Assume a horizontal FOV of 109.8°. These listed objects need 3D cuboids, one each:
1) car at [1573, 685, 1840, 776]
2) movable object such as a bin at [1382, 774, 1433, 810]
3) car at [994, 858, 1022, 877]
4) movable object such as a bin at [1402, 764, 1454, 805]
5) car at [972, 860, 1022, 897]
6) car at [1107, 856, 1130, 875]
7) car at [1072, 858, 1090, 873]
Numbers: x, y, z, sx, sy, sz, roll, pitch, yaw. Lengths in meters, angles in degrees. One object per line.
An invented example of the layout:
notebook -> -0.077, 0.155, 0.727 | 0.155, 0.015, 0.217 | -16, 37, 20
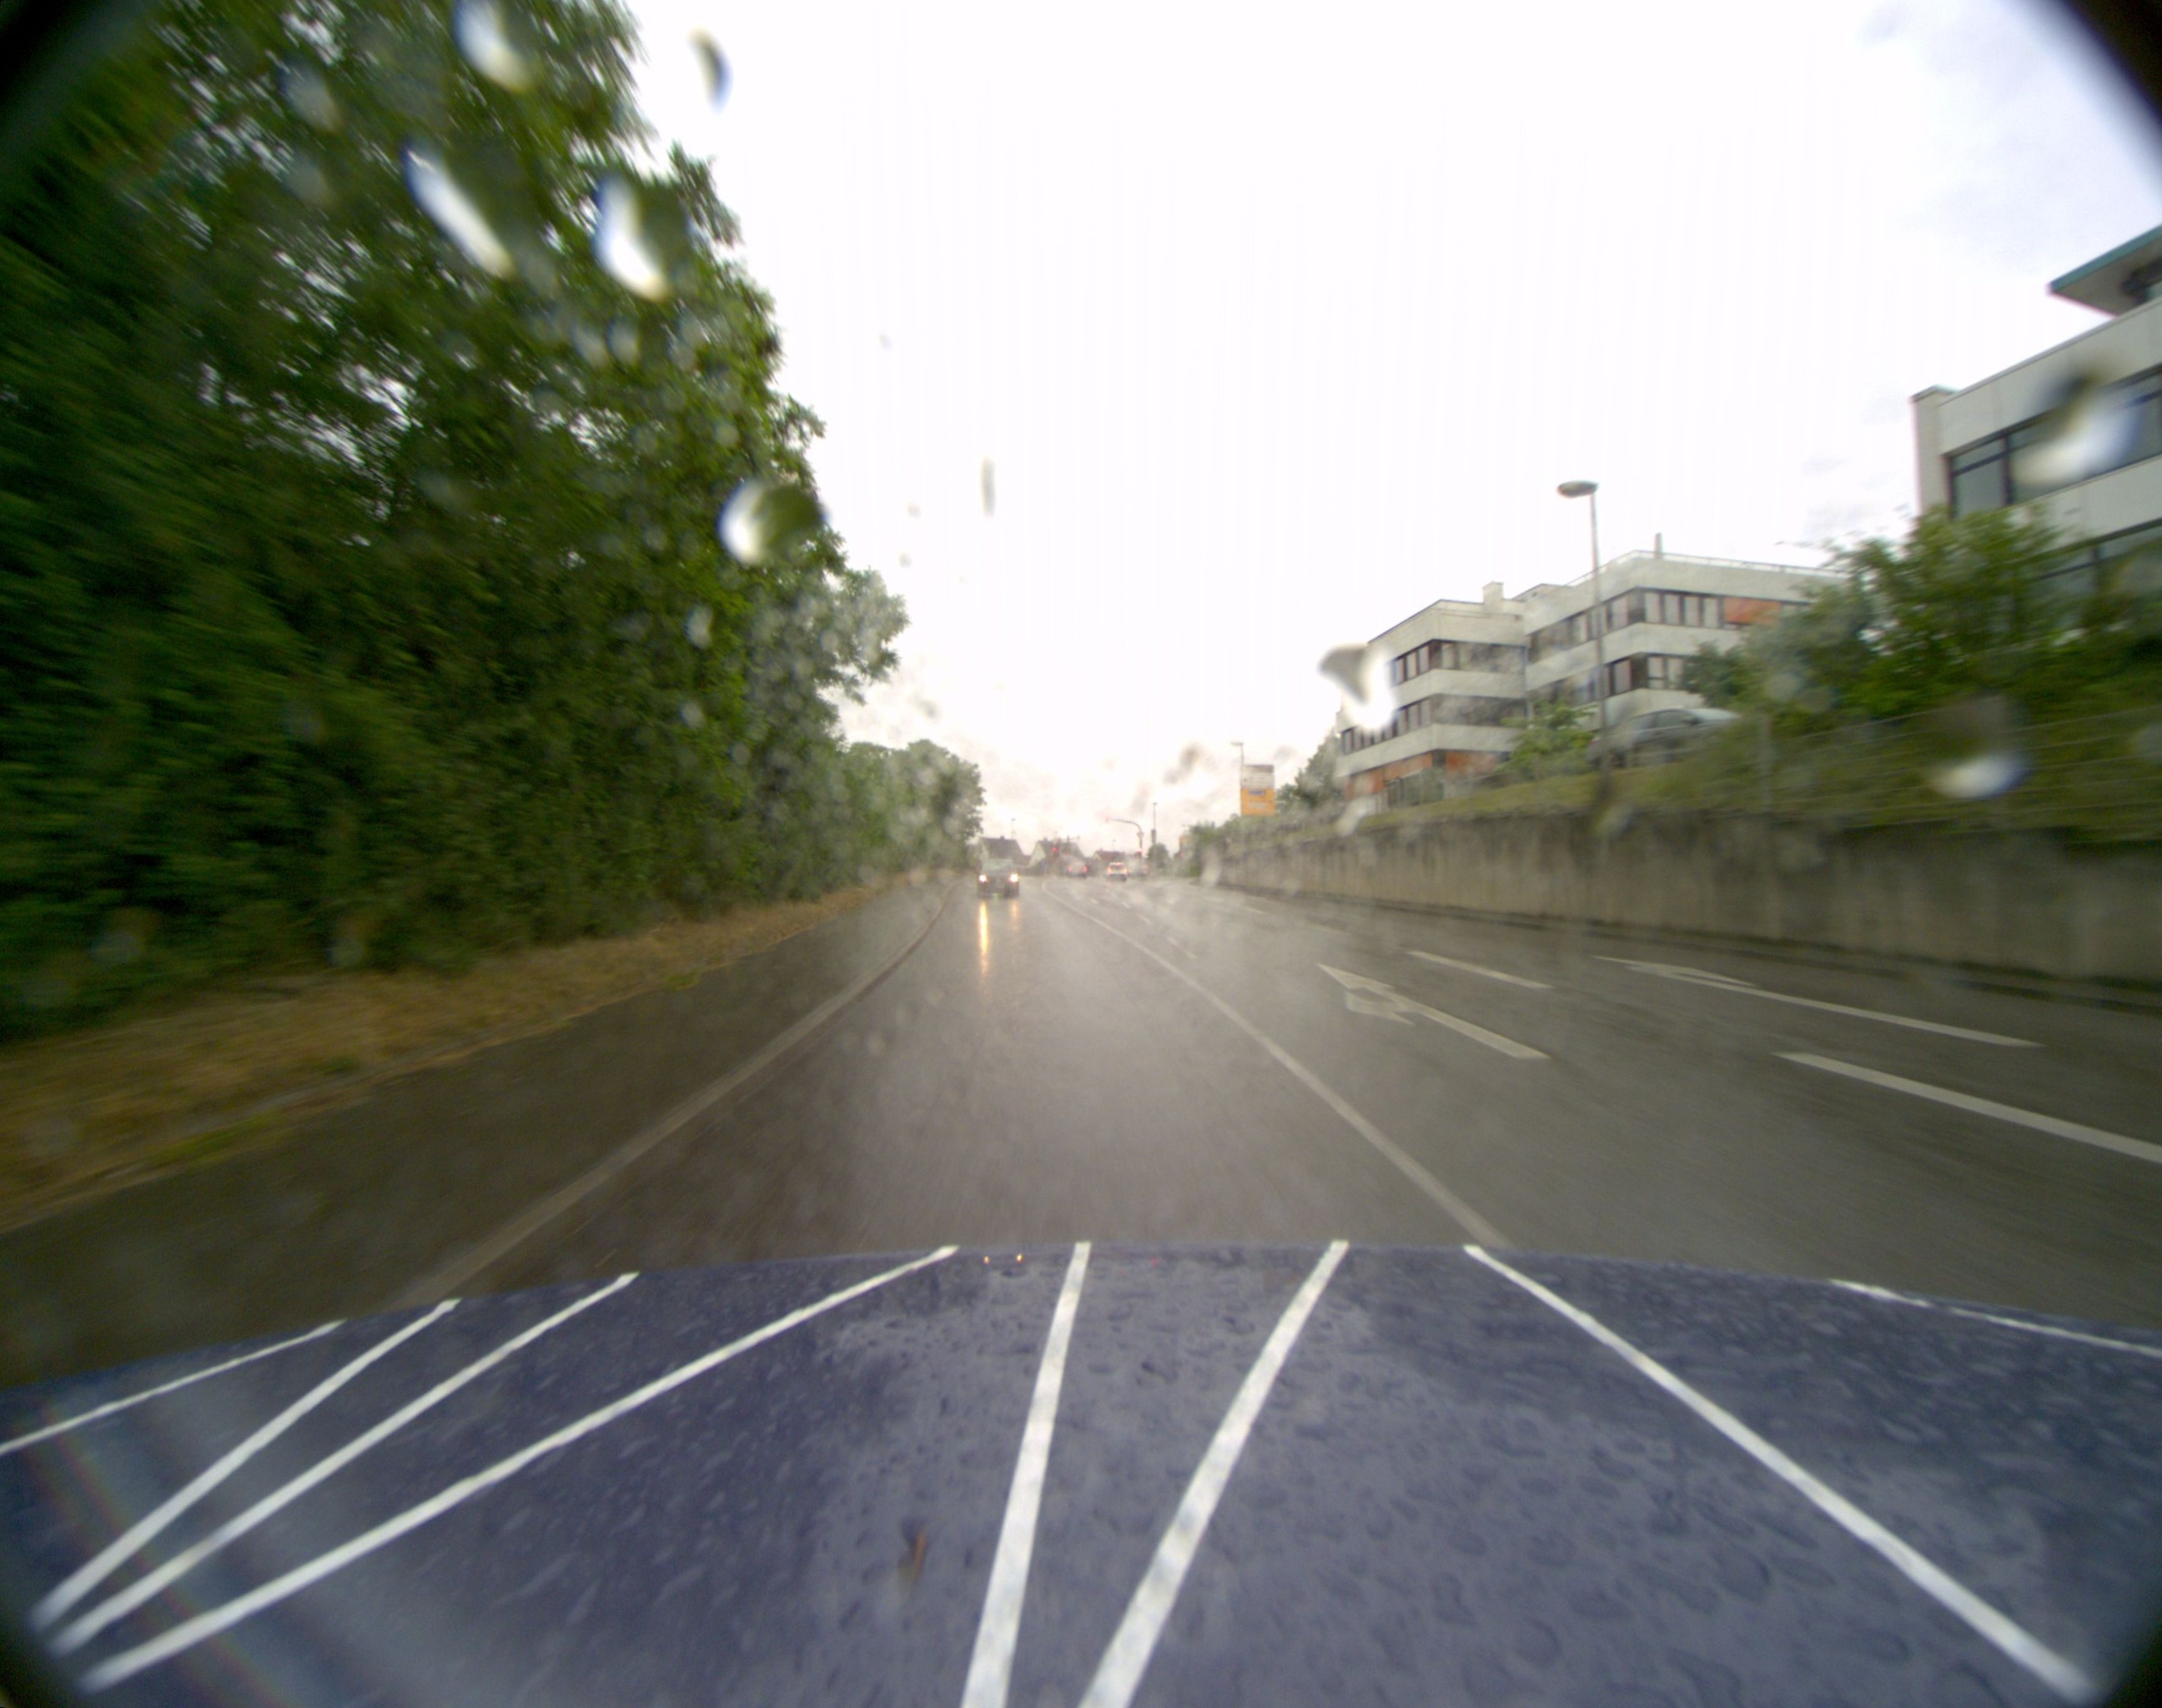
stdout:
car -> 13.582, -2.618, 16.952 | 1.919, 1.335, 4.529 | -1, 1, -7
movable object such as a bin -> 12.064, -2.279, 28.129 | 1.244, 1.204, 1.342 | -1, 0, -4
car -> -5.492, 0.997, 57.671 | 1.874, 1.432, 4.377 | 1, 0, -2
movable object such as a bin -> 12.200, -2.435, 26.777 | 1.244, 1.338, 1.217 | -1, 0, -3
car -> -3.418, 0.964, 31.678 | 1.874, 1.432, 4.376 | 1, 0, -4
car -> 3.167, 0.937, 64.854 | 1.738, 1.452, 3.720 | -1, 1, 0
car -> -0.011, 1.129, 73.784 | 1.738, 1.297, 3.720 | -1, 1, 0
